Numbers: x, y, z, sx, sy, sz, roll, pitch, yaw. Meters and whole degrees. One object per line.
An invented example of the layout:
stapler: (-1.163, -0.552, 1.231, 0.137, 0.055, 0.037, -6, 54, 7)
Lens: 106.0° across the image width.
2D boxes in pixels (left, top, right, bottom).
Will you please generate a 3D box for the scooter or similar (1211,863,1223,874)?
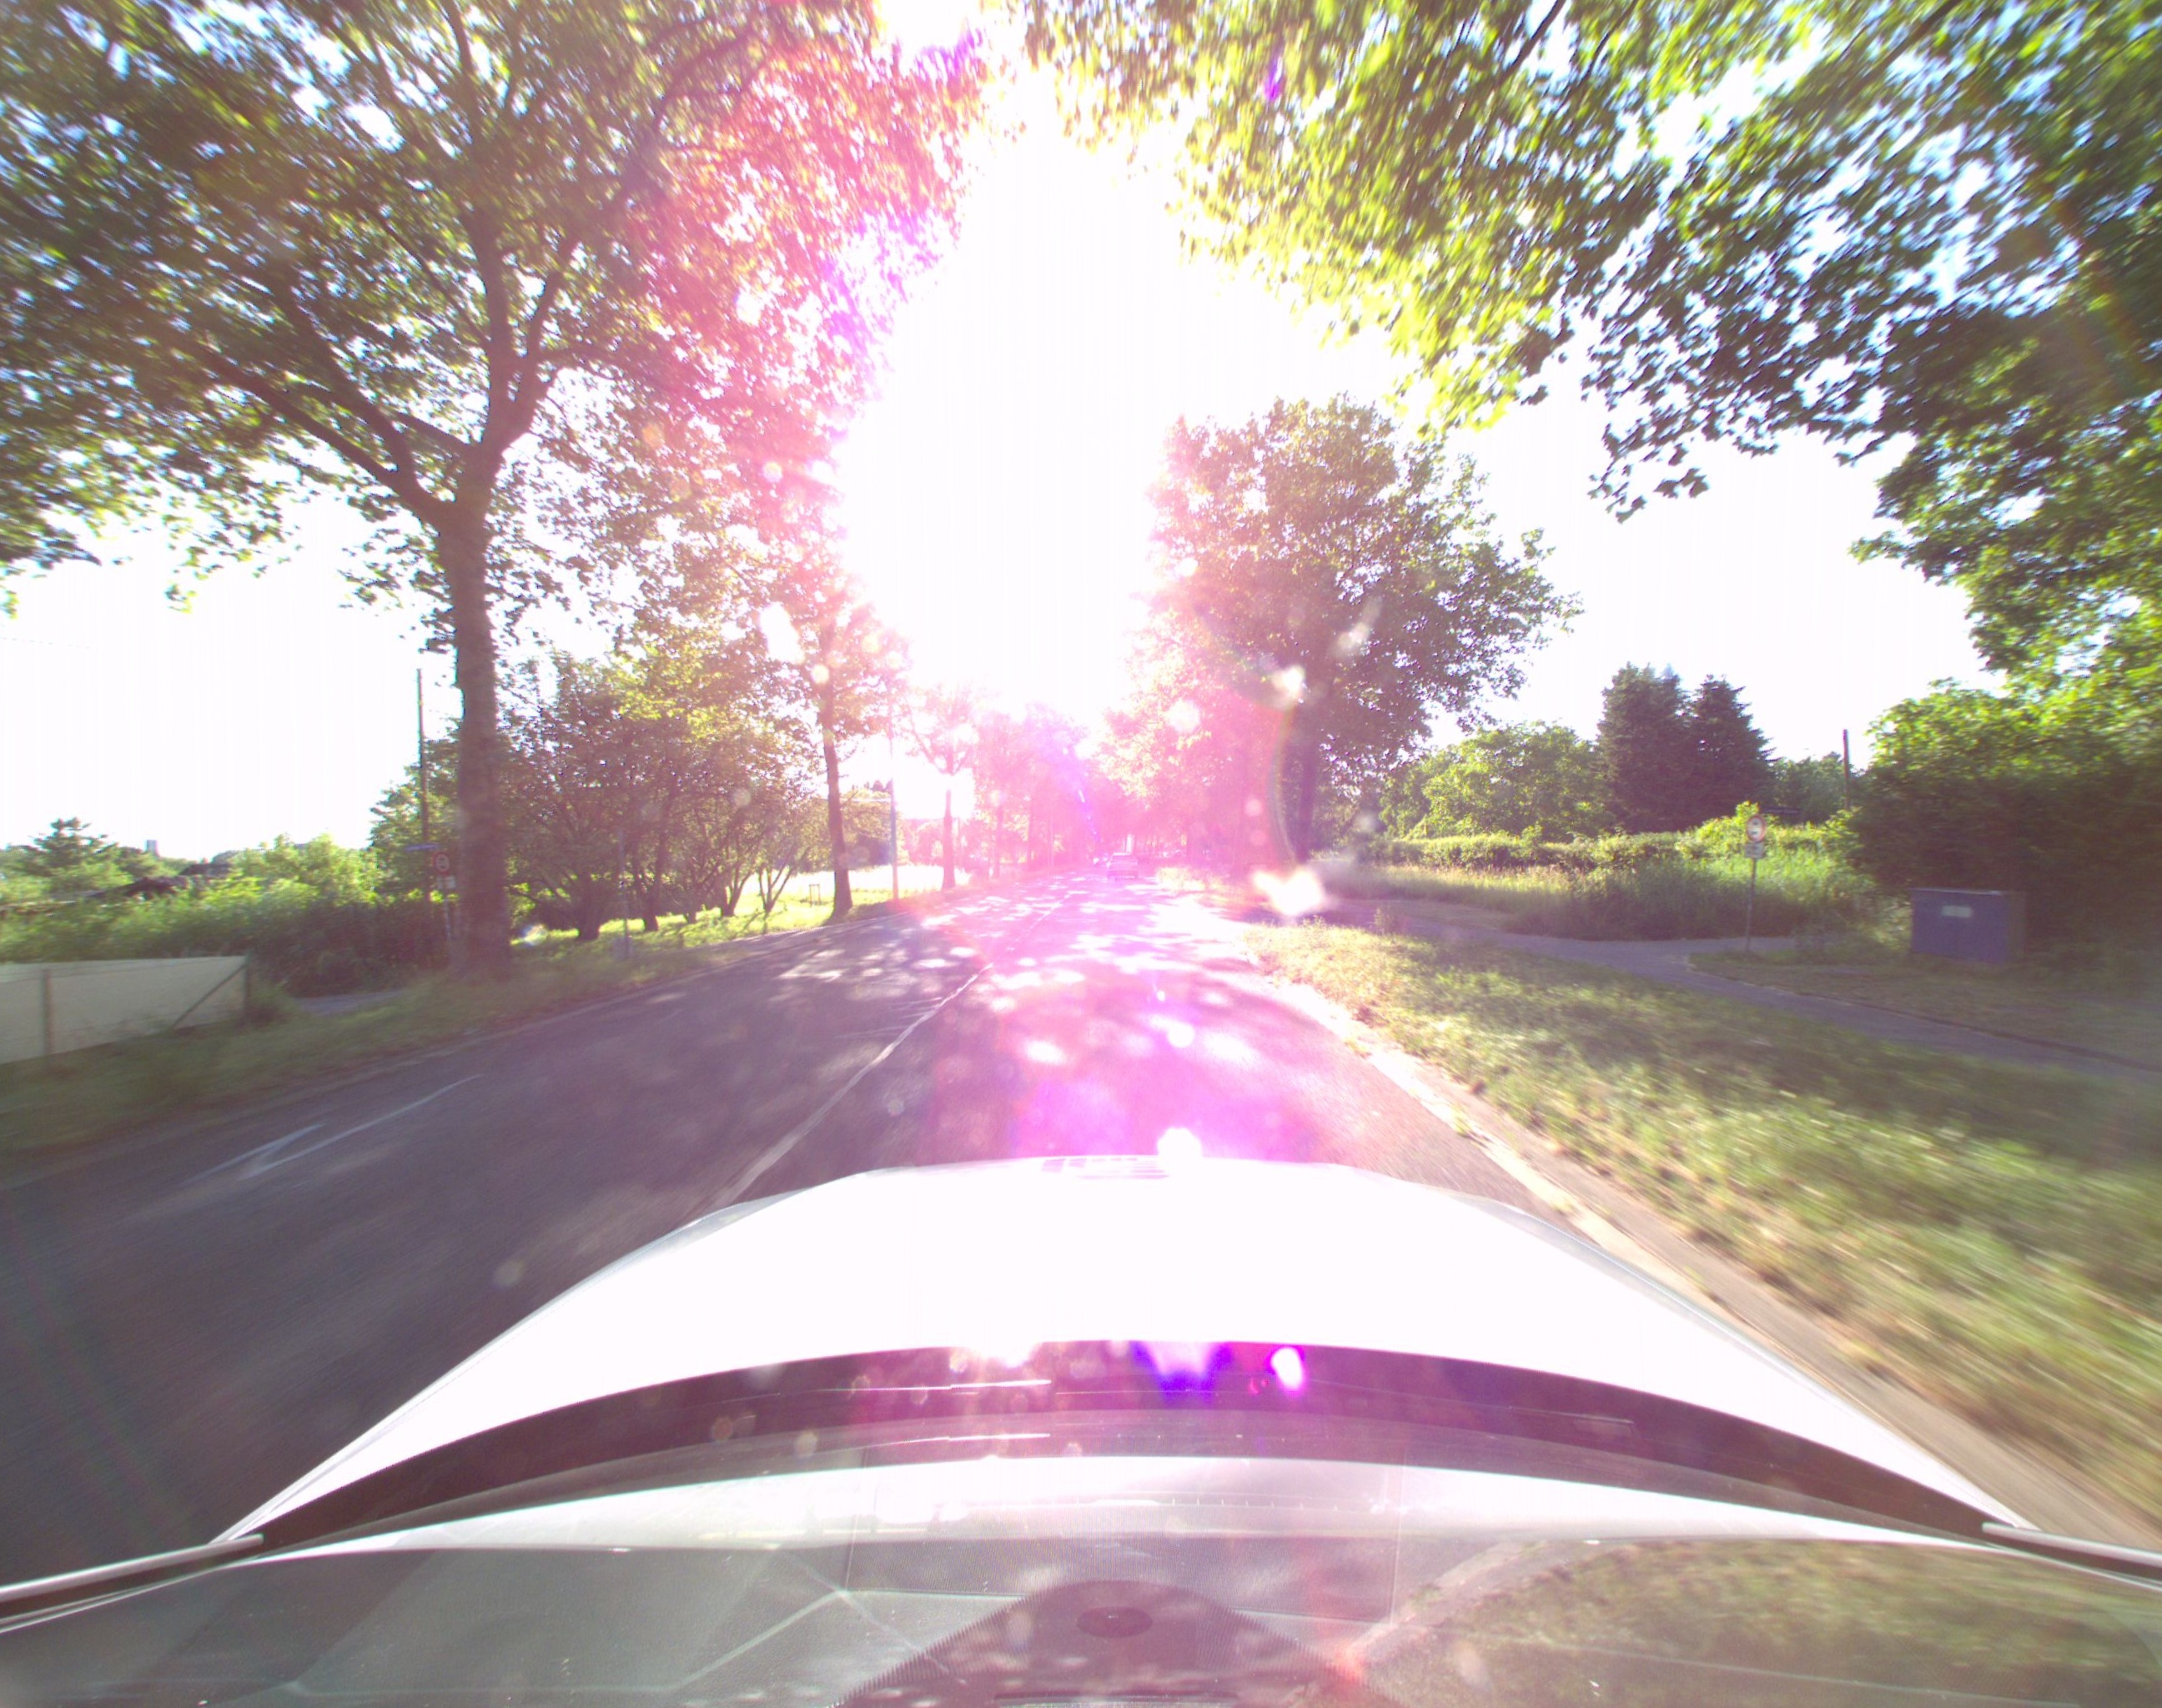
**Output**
scooter or similar: (14.343, 1.502, 85.871, 1.607, 1.135, 0.337, 0, -1, -39)

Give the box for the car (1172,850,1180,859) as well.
car: (23.043, 0.084, 197.918, 1.983, 2.014, 4.007, 0, -1, 6)

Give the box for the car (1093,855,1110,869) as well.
car: (2.231, 0.846, 88.896, 1.708, 1.505, 4.004, 0, -1, 4)

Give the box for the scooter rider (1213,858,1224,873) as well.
scooter rider: (14.532, 1.235, 85.977, 0.849, 1.576, 0.776, 0, -1, -38)

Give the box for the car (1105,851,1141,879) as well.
car: (2.521, 0.624, 48.090, 1.984, 1.574, 4.005, 0, 0, 5)

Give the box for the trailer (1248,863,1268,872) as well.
trailer: (19.260, 1.469, 88.645, 2.104, 1.052, 1.204, -1, -1, 10)

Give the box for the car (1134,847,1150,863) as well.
car: (8.067, 0.138, 107.178, 1.984, 2.014, 4.006, 0, -1, 5)
